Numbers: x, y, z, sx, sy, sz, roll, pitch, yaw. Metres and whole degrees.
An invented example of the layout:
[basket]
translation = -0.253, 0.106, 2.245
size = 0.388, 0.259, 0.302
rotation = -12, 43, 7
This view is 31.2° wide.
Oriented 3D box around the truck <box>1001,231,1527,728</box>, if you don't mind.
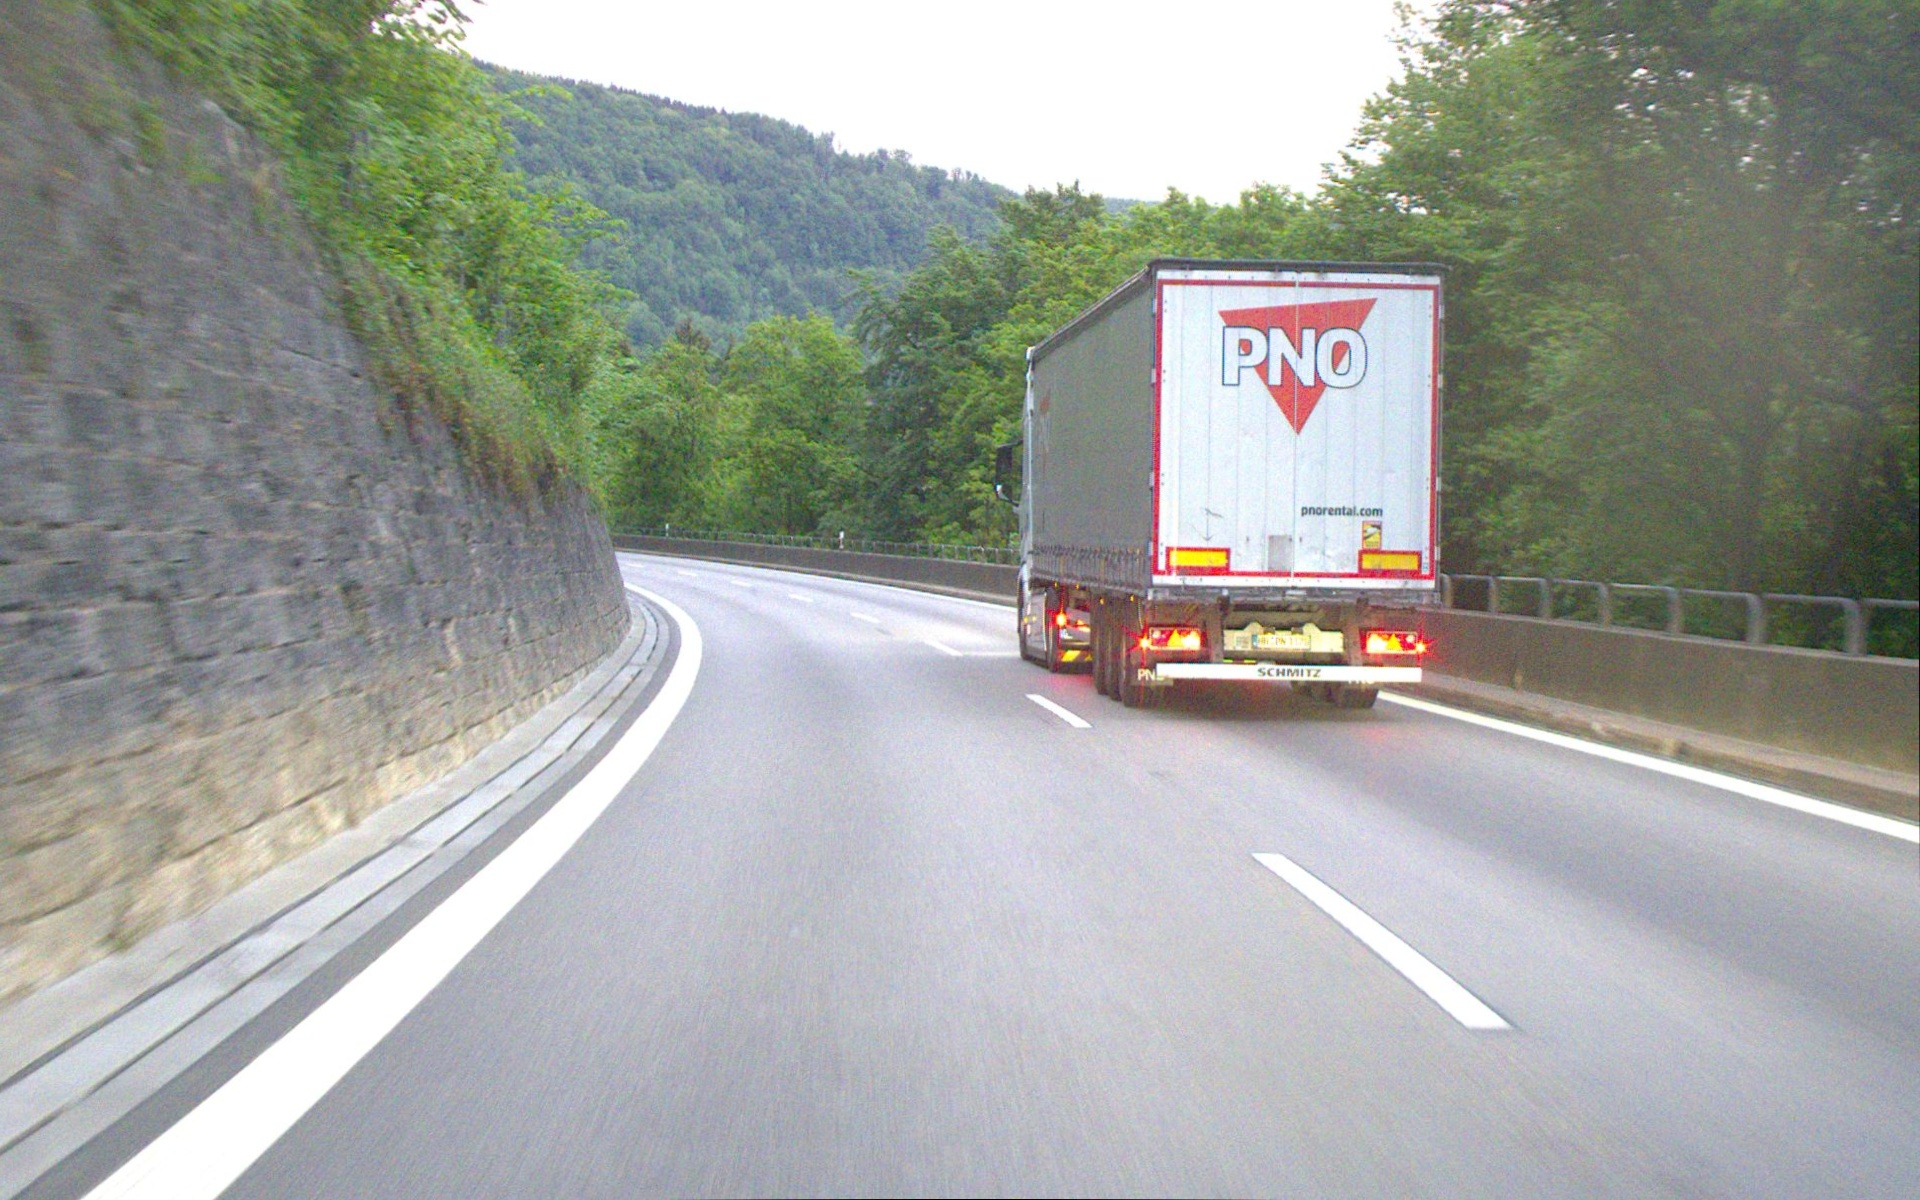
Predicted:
[truck]
translation = 2.703, -1.163, 37.646
size = 3.294, 4.158, 16.505
rotation = 2, 1, -3
